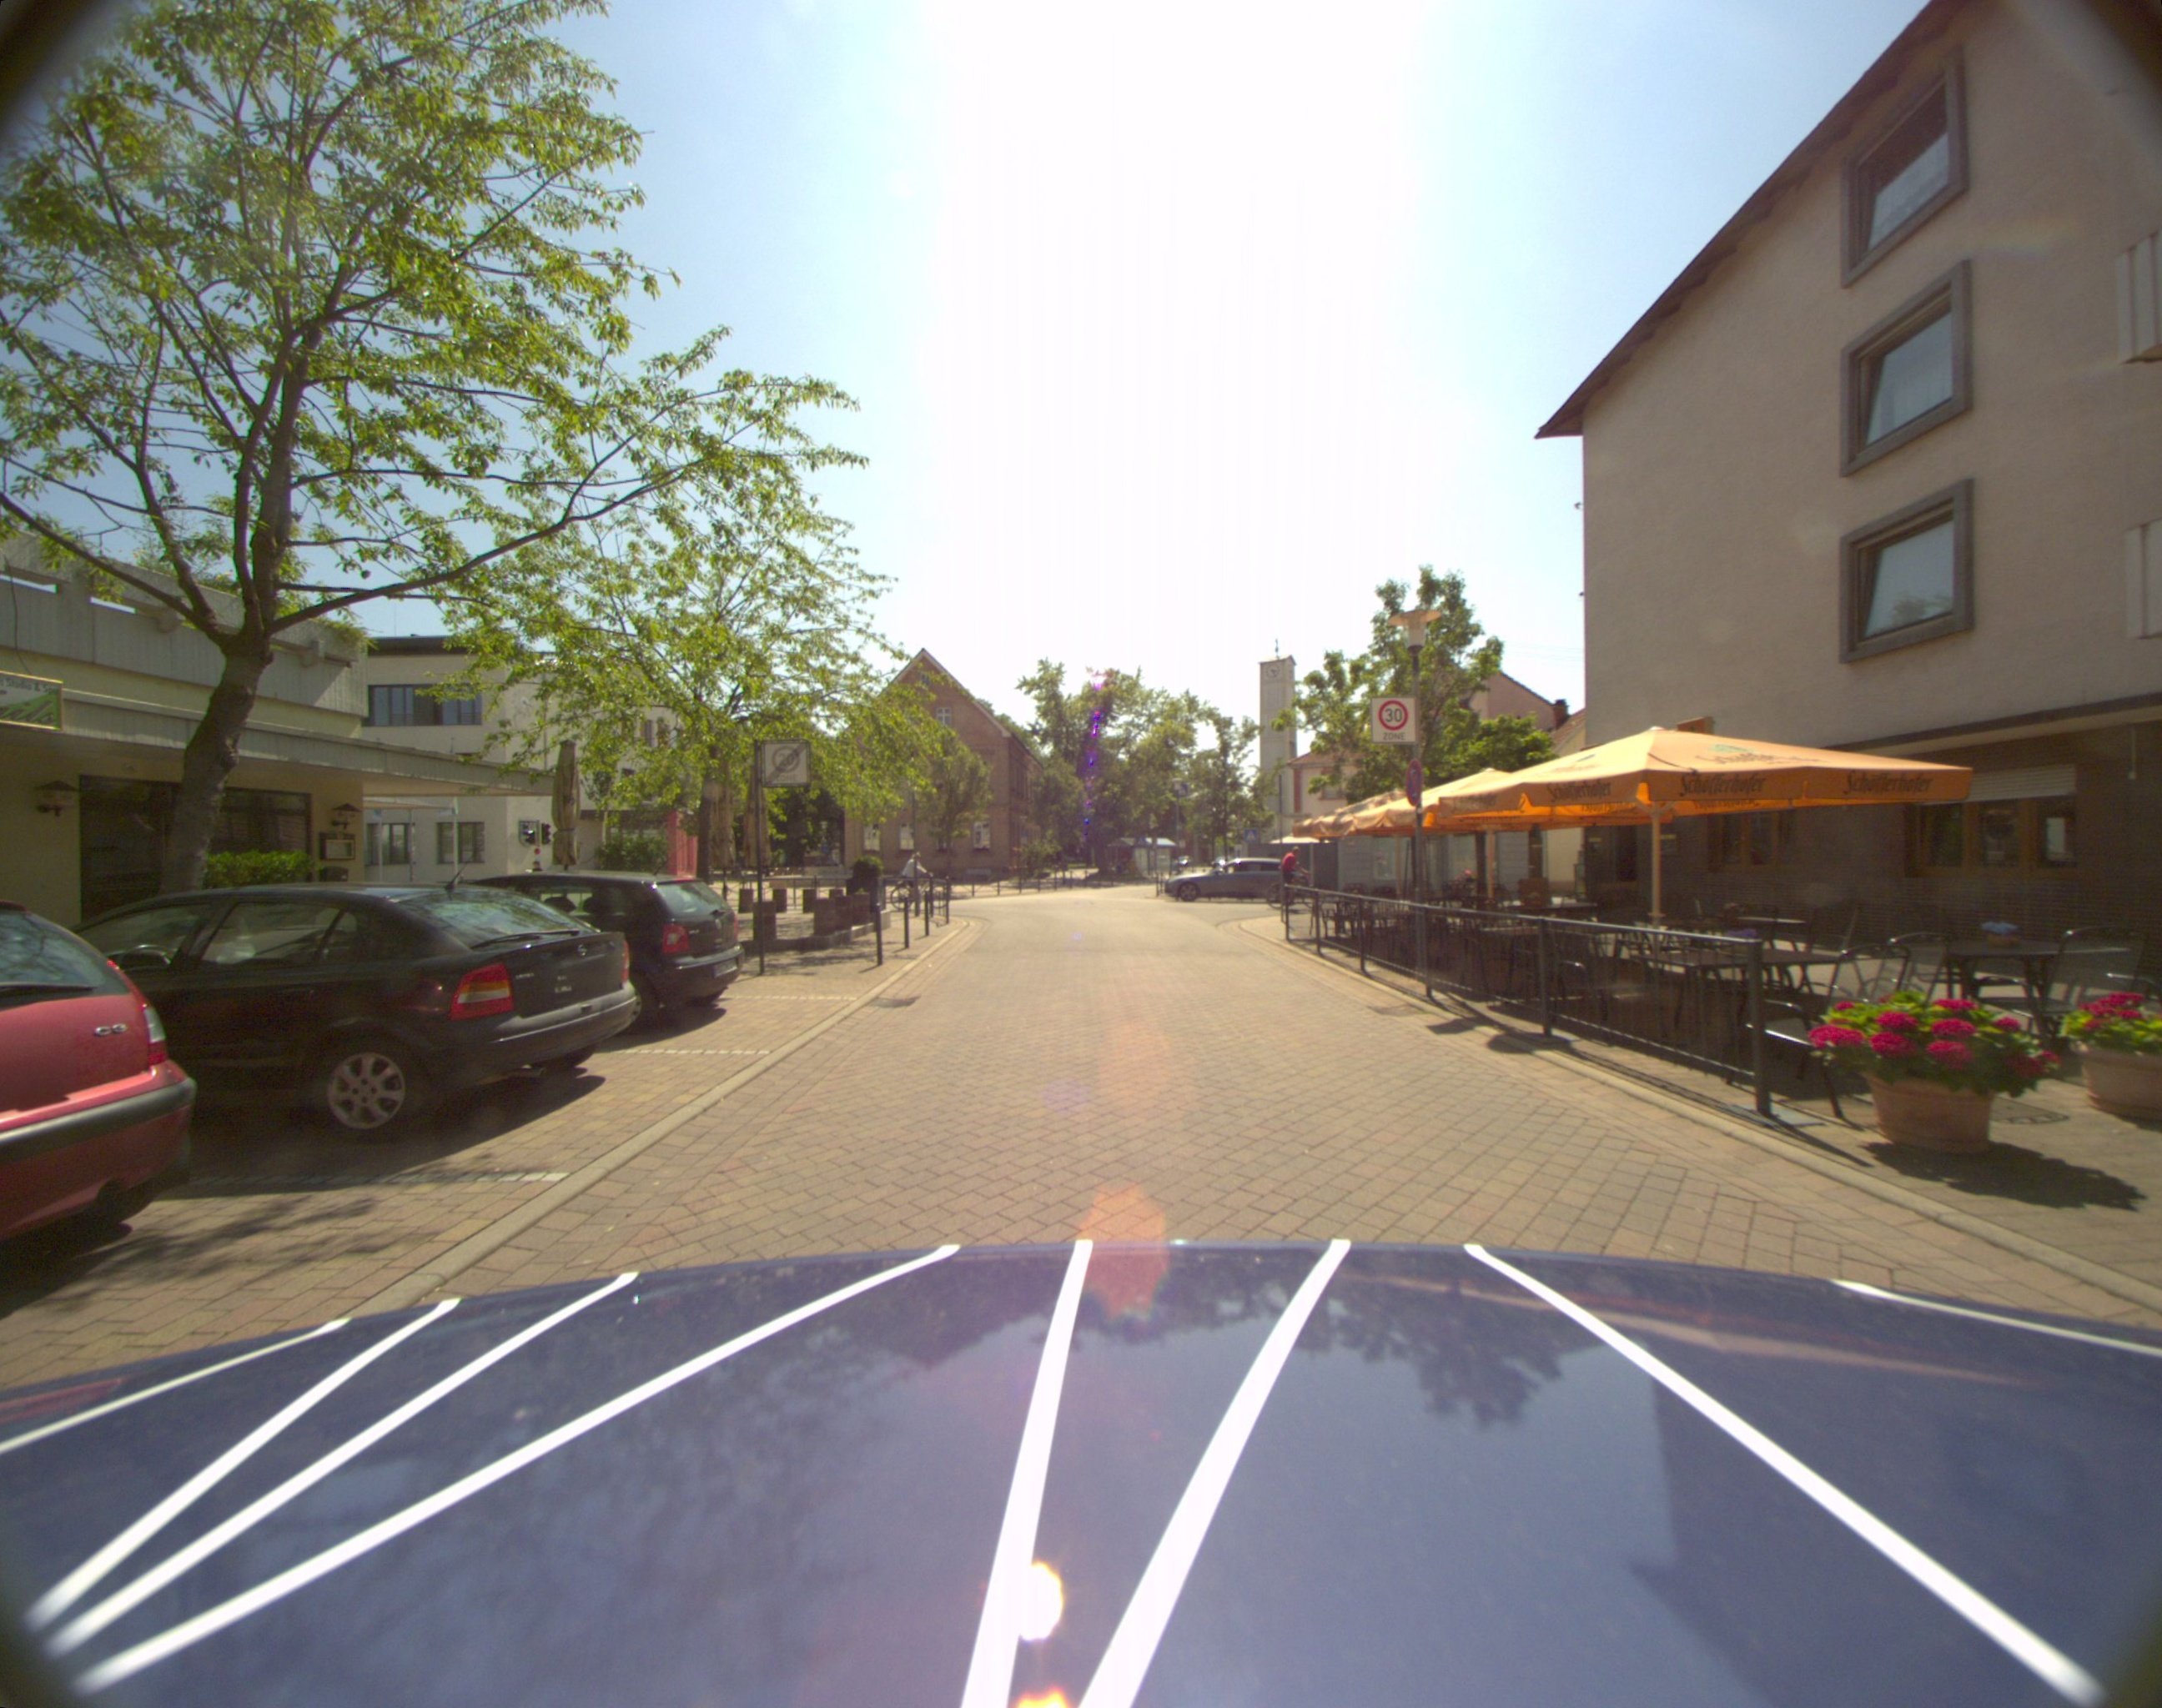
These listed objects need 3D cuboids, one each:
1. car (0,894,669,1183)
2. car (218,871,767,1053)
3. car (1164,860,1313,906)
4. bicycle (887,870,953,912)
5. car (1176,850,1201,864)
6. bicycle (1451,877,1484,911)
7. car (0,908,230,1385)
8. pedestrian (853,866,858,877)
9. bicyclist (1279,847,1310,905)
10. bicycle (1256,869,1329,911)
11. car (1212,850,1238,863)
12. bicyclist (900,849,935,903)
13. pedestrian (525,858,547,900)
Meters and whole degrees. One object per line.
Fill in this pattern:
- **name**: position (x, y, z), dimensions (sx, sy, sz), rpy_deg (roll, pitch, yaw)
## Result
- **car**: position (-5.196, 1.021, 4.881), dimensions (4.107, 1.423, 1.784), rpy_deg (0, 0, -1)
- **car**: position (-5.446, 0.953, 7.477), dimensions (3.969, 1.501, 1.772), rpy_deg (0, 1, -2)
- **car**: position (5.312, 0.967, 26.125), dimensions (4.838, 1.472, 1.916), rpy_deg (1, 0, 6)
- **bicycle**: position (-4.755, 1.088, 22.559), dimensions (1.798, 1.183, 0.690), rpy_deg (0, 3, 0)
- **car**: position (12.291, 0.347, 86.696), dimensions (1.995, 1.607, 4.006), rpy_deg (0, 0, 21)
- **bicycle**: position (10.672, 1.099, 20.973), dimensions (0.463, 0.891, 1.417), rpy_deg (-2, -2, 41)
- **car**: position (-5.440, 0.979, 2.298), dimensions (3.733, 1.525, 1.765), rpy_deg (0, 0, 0)
- **pedestrian**: position (-14.752, 1.147, 49.704), dimensions (0.289, 0.728, 0.357), rpy_deg (-1, 0, -13)
- **bicyclist**: position (6.403, 0.645, 22.820), dimensions (0.759, 1.707, 0.703), rpy_deg (0, 1, 1)
- **bicycle**: position (6.345, 1.076, 22.872), dimensions (1.969, 1.183, 0.738), rpy_deg (0, 3, 0)
- **car**: position (16.070, 0.284, 84.730), dimensions (1.646, 1.459, 3.786), rpy_deg (-1, -1, 30)
- **bicyclist**: position (-4.849, 0.652, 22.568), dimensions (0.877, 1.572, 0.703), rpy_deg (0, 1, 1)
- **pedestrian**: position (-21.091, 0.951, 29.393), dimensions (0.555, 1.609, 0.551), rpy_deg (1, 1, 38)
